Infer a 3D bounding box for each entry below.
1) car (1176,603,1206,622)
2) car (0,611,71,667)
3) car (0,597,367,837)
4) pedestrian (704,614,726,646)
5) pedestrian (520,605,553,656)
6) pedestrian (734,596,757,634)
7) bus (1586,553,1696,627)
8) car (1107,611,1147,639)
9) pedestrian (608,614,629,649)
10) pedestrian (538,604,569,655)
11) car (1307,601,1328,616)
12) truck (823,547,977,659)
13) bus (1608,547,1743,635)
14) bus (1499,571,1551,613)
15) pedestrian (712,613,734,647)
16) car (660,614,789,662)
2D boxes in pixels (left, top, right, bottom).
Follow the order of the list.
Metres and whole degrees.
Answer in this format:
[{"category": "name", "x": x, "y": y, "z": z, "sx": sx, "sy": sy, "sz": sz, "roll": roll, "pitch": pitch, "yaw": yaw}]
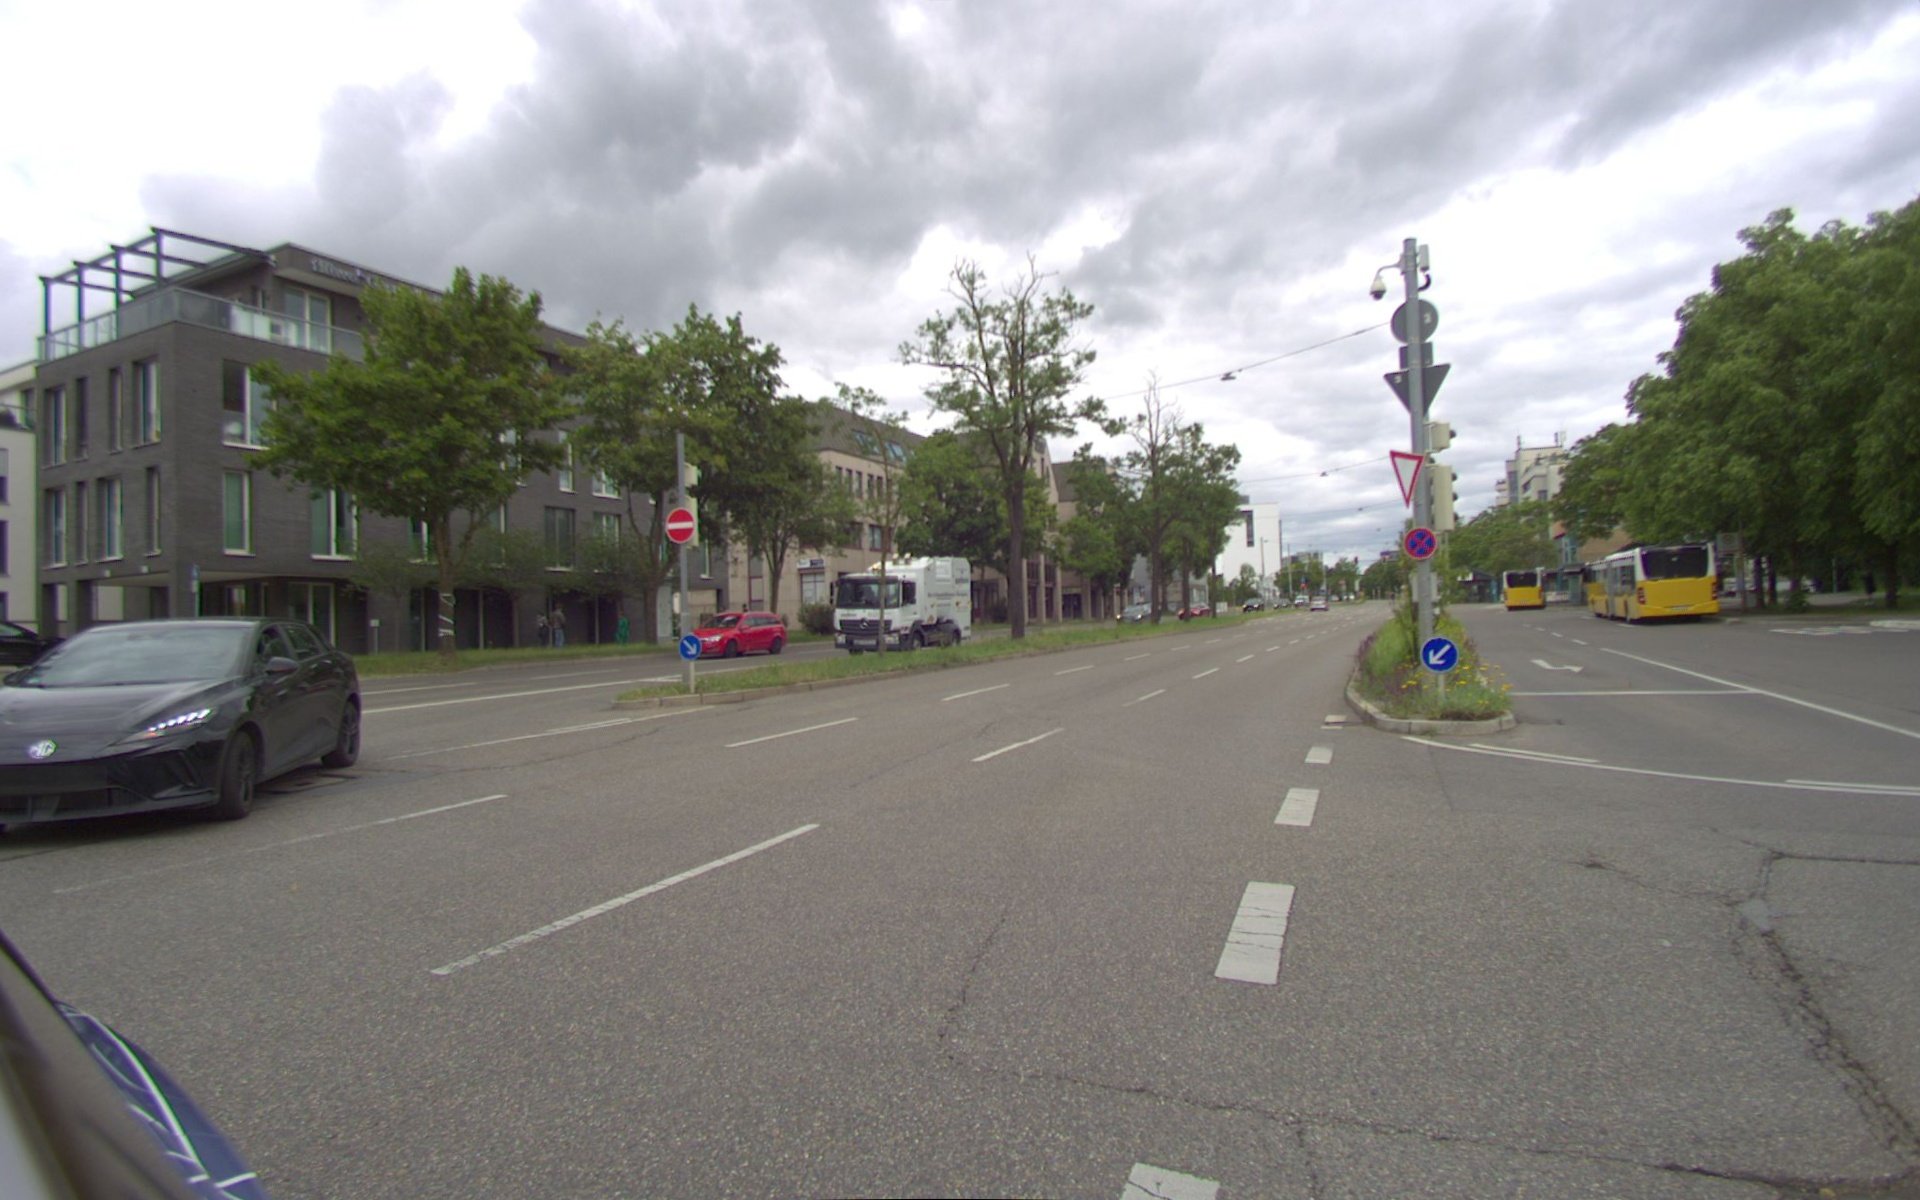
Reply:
[{"category": "car", "x": 19.935, "y": 1.108, "z": 87.249, "sx": 1.813, "sy": 1.497, "sz": 4.345, "roll": -4, "pitch": -3, "yaw": 22}, {"category": "car", "x": -29.251, "y": 1.176, "z": 29.886, "sx": 1.989, "sy": 1.613, "sz": 4.088, "roll": -4, "pitch": -3, "yaw": 26}, {"category": "car", "x": -6.455, "y": 0.753, "z": 8.274, "sx": 1.771, "sy": 1.495, "sz": 4.031, "roll": 0, "pitch": -1, "yaw": -15}, {"category": "pedestrian", "x": -11.038, "y": 1.353, "z": 45.540, "sx": 0.689, "sy": 1.401, "sz": 0.593, "roll": -4, "pitch": -1, "yaw": 24}, {"category": "pedestrian", "x": -14.945, "y": 1.070, "z": 35.723, "sx": 0.688, "sy": 1.759, "sz": 0.694, "roll": -4, "pitch": -1, "yaw": 19}, {"category": "pedestrian", "x": -9.587, "y": 0.679, "z": 45.197, "sx": 0.689, "sy": 1.632, "sz": 0.593, "roll": -4, "pitch": -1, "yaw": 24}, {"category": "bus", "x": 32.400, "y": -0.484, "z": 48.571, "sx": 3.038, "sy": 3.031, "sz": 9.608, "roll": -4, "pitch": -1, "yaw": 27}, {"category": "car", "x": 11.809, "y": 1.751, "z": 71.319, "sx": 1.984, "sy": 1.707, "sz": 4.574, "roll": -4, "pitch": -1, "yaw": 19}, {"category": "pedestrian", "x": -13.565, "y": 1.251, "z": 40.178, "sx": 0.528, "sy": 1.367, "sz": 0.658, "roll": -3, "pitch": -1, "yaw": 2}, {"category": "pedestrian", "x": -14.250, "y": 1.032, "z": 35.505, "sx": 0.688, "sy": 1.759, "sz": 0.645, "roll": -4, "pitch": -1, "yaw": 19}, {"category": "car", "x": 41.135, "y": 1.011, "z": 116.417, "sx": 1.741, "sy": 1.540, "sz": 3.715, "roll": -4, "pitch": -1, "yaw": 28}, {"category": "truck", "x": -1.744, "y": 0.116, "z": 32.531, "sx": 2.421, "sy": 3.219, "sz": 6.418, "roll": 0, "pitch": -1, "yaw": 22}, {"category": "bus", "x": 28.361, "y": -0.357, "z": 40.552, "sx": 3.038, "sy": 3.031, "sz": 8.353, "roll": -4, "pitch": -1, "yaw": 27}, {"category": "bus", "x": 45.416, "y": -0.684, "z": 81.337, "sx": 3.282, "sy": 3.031, "sz": 10.129, "roll": -4, "pitch": -1, "yaw": 29}, {"category": "pedestrian", "x": -10.521, "y": 1.315, "z": 44.967, "sx": 0.689, "sy": 1.444, "sz": 0.593, "roll": -4, "pitch": -1, "yaw": 24}, {"category": "car", "x": -7.587, "y": 1.199, "z": 33.041, "sx": 1.986, "sy": 1.434, "sz": 4.324, "roll": -2, "pitch": -1, "yaw": 22}]
